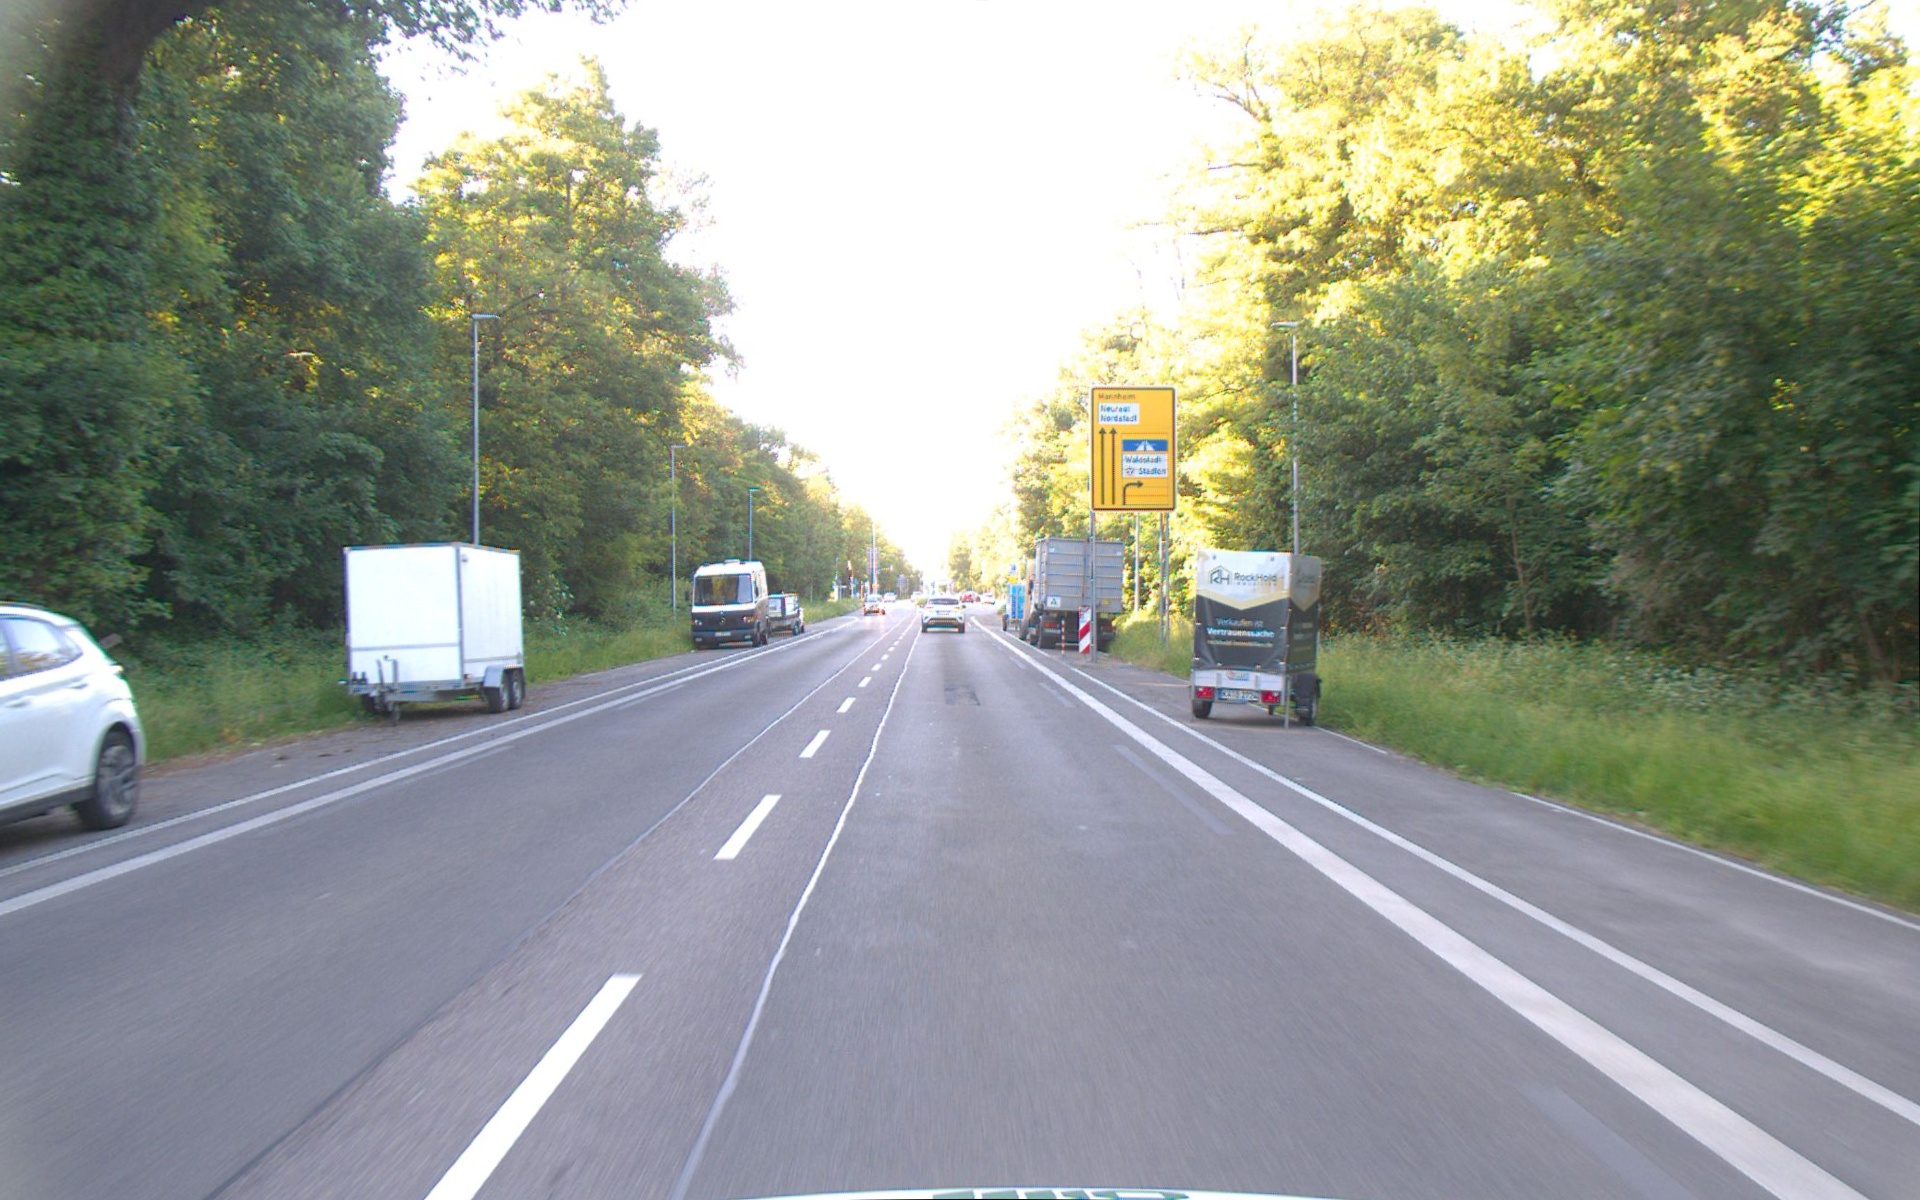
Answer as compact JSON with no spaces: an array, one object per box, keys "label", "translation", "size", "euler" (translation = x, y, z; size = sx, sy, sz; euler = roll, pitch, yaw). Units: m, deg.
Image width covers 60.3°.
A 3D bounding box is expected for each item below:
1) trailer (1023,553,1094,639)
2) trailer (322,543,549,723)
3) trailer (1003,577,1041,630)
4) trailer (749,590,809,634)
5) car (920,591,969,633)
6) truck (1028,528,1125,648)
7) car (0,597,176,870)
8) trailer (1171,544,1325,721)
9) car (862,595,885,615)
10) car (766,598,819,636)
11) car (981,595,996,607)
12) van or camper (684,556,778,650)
[{"label":"trailer","translation":[3.500,-0.143,59.571],"size":[2.226,2.894,5.207],"euler":[1,0,0]},{"label":"trailer","translation":[-7.355,0.428,23.566],"size":[2.032,2.333,3.487],"euler":[-1,0,1]},{"label":"trailer","translation":[2.775,0.144,74.630],"size":[1.469,2.274,4.549],"euler":[1,0,0]},{"label":"trailer","translation":[-7.390,0.476,67.686],"size":[1.439,1.688,3.368],"euler":[-2,0,12]},{"label":"car","translation":[-0.652,0.465,69.010],"size":[1.953,1.668,3.999],"euler":[0,0,-1]},{"label":"truck","translation":[3.512,-0.336,51.282],"size":[2.454,3.425,7.106],"euler":[1,0,0]},{"label":"car","translation":[-6.596,0.828,10.039],"size":[1.778,1.599,4.204],"euler":[-2,0,-3]},{"label":"trailer","translation":[3.790,0.387,21.503],"size":[1.580,2.149,2.397],"euler":[1,0,20]},{"label":"car","translation":[-6.684,0.369,128.203],"size":[1.644,1.440,4.000],"euler":[-1,0,0]},{"label":"car","translation":[-7.236,0.704,71.795],"size":[1.829,1.489,4.132],"euler":[-3,0,0]},{"label":"car","translation":[3.854,0.114,227.172],"size":[1.953,1.646,4.000],"euler":[1,0,0]},{"label":"van or camper","translation":[-7.443,0.089,54.290],"size":[2.255,2.816,5.556],"euler":[-3,0,-1]}]
